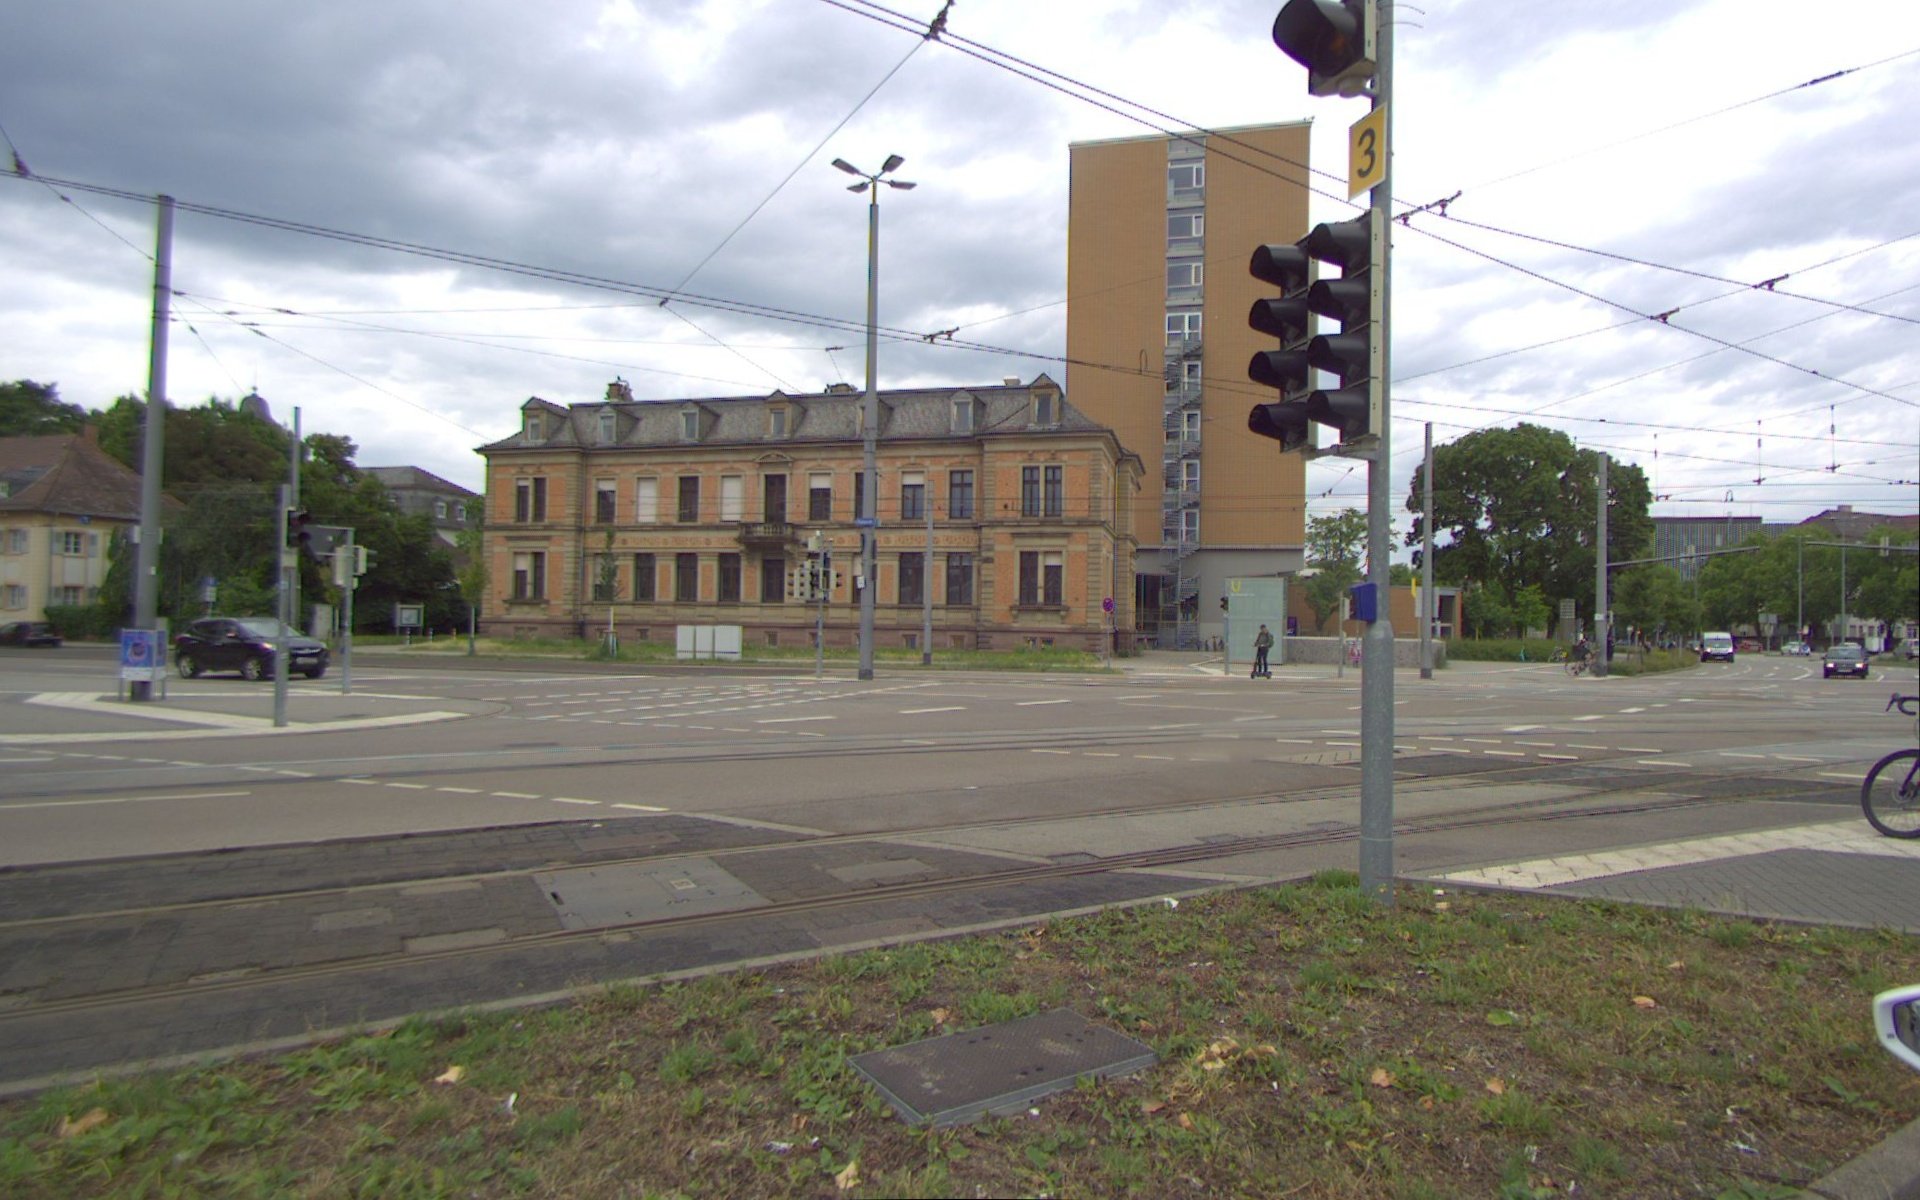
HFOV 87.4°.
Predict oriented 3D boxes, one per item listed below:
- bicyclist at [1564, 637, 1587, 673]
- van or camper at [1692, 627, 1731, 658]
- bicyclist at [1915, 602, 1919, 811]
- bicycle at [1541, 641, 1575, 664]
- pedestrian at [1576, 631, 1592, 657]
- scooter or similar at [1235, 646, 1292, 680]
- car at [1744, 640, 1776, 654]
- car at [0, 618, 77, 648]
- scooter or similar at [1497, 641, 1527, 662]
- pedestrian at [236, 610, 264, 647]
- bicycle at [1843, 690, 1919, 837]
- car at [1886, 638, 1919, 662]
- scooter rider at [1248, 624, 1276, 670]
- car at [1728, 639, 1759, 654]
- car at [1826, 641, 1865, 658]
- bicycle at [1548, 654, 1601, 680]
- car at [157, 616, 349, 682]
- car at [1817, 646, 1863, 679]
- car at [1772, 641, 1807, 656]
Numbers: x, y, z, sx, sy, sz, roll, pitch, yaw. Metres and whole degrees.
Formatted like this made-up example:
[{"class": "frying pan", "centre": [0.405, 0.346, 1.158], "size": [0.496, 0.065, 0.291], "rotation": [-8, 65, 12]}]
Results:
[{"class": "bicyclist", "centre": [30.140, 2.685, 49.170], "size": [0.803, 1.679, 0.789], "rotation": [3, 5, 42]}, {"class": "van or camper", "centre": [63.533, 3.593, 84.984], "size": [2.248, 2.560, 5.558], "rotation": [-1, -3, 33]}, {"class": "bicyclist", "centre": [7.885, 0.840, 7.709], "size": [0.642, 1.660, 0.518], "rotation": [0, -2, 20]}, {"class": "bicycle", "centre": [39.470, 3.441, 66.299], "size": [2.224, 1.468, 0.844], "rotation": [2, -1, -26]}, {"class": "pedestrian", "centre": [41.937, 2.934, 67.517], "size": [0.681, 1.756, 0.739], "rotation": [2, -2, -45]}, {"class": "scooter or similar", "centre": [10.910, 2.261, 36.128], "size": [1.872, 1.180, 0.573], "rotation": [1, -1, -9]}, {"class": "car", "centre": [104.423, 6.088, 131.205], "size": [1.960, 1.773, 4.001], "rotation": [1, -2, 18]}, {"class": "car", "centre": [-48.886, 1.720, 52.777], "size": [3.920, 1.450, 2.001], "rotation": [0, -2, 17]}, {"class": "scooter or similar", "centre": [36.386, 3.387, 66.241], "size": [1.744, 1.319, 0.629], "rotation": [0, -1, 29]}, {"class": "pedestrian", "centre": [-36.947, 1.487, 52.279], "size": [0.832, 1.856, 0.811], "rotation": [1, -1, 7]}, {"class": "bicycle", "centre": [7.889, 1.270, 7.700], "size": [1.582, 1.084, 0.528], "rotation": [0, -2, 20]}, {"class": "car", "centre": [85.280, 4.490, 90.326], "size": [1.963, 2.040, 3.996], "rotation": [0, -2, 27]}, {"class": "scooter rider", "centre": [10.858, 1.685, 36.127], "size": [0.807, 1.649, 0.568], "rotation": [1, -1, -10]}, {"class": "car", "centre": [97.872, 5.792, 125.483], "size": [1.961, 1.795, 4.000], "rotation": [0, -2, 21]}, {"class": "car", "centre": [93.597, 5.201, 106.205], "size": [1.962, 1.773, 3.997], "rotation": [0, -2, 25]}, {"class": "bicycle", "centre": [30.097, 3.254, 49.231], "size": [2.090, 1.042, 0.790], "rotation": [3, 4, 43]}, {"class": "car", "centre": [-19.309, 1.303, 27.495], "size": [4.159, 1.632, 2.001], "rotation": [1, -1, 13]}, {"class": "car", "centre": [43.364, 3.061, 49.550], "size": [1.600, 1.535, 3.647], "rotation": [-2, -3, 40]}, {"class": "car", "centre": [92.766, 5.408, 112.328], "size": [1.962, 1.661, 3.998], "rotation": [0, -2, 23]}]
